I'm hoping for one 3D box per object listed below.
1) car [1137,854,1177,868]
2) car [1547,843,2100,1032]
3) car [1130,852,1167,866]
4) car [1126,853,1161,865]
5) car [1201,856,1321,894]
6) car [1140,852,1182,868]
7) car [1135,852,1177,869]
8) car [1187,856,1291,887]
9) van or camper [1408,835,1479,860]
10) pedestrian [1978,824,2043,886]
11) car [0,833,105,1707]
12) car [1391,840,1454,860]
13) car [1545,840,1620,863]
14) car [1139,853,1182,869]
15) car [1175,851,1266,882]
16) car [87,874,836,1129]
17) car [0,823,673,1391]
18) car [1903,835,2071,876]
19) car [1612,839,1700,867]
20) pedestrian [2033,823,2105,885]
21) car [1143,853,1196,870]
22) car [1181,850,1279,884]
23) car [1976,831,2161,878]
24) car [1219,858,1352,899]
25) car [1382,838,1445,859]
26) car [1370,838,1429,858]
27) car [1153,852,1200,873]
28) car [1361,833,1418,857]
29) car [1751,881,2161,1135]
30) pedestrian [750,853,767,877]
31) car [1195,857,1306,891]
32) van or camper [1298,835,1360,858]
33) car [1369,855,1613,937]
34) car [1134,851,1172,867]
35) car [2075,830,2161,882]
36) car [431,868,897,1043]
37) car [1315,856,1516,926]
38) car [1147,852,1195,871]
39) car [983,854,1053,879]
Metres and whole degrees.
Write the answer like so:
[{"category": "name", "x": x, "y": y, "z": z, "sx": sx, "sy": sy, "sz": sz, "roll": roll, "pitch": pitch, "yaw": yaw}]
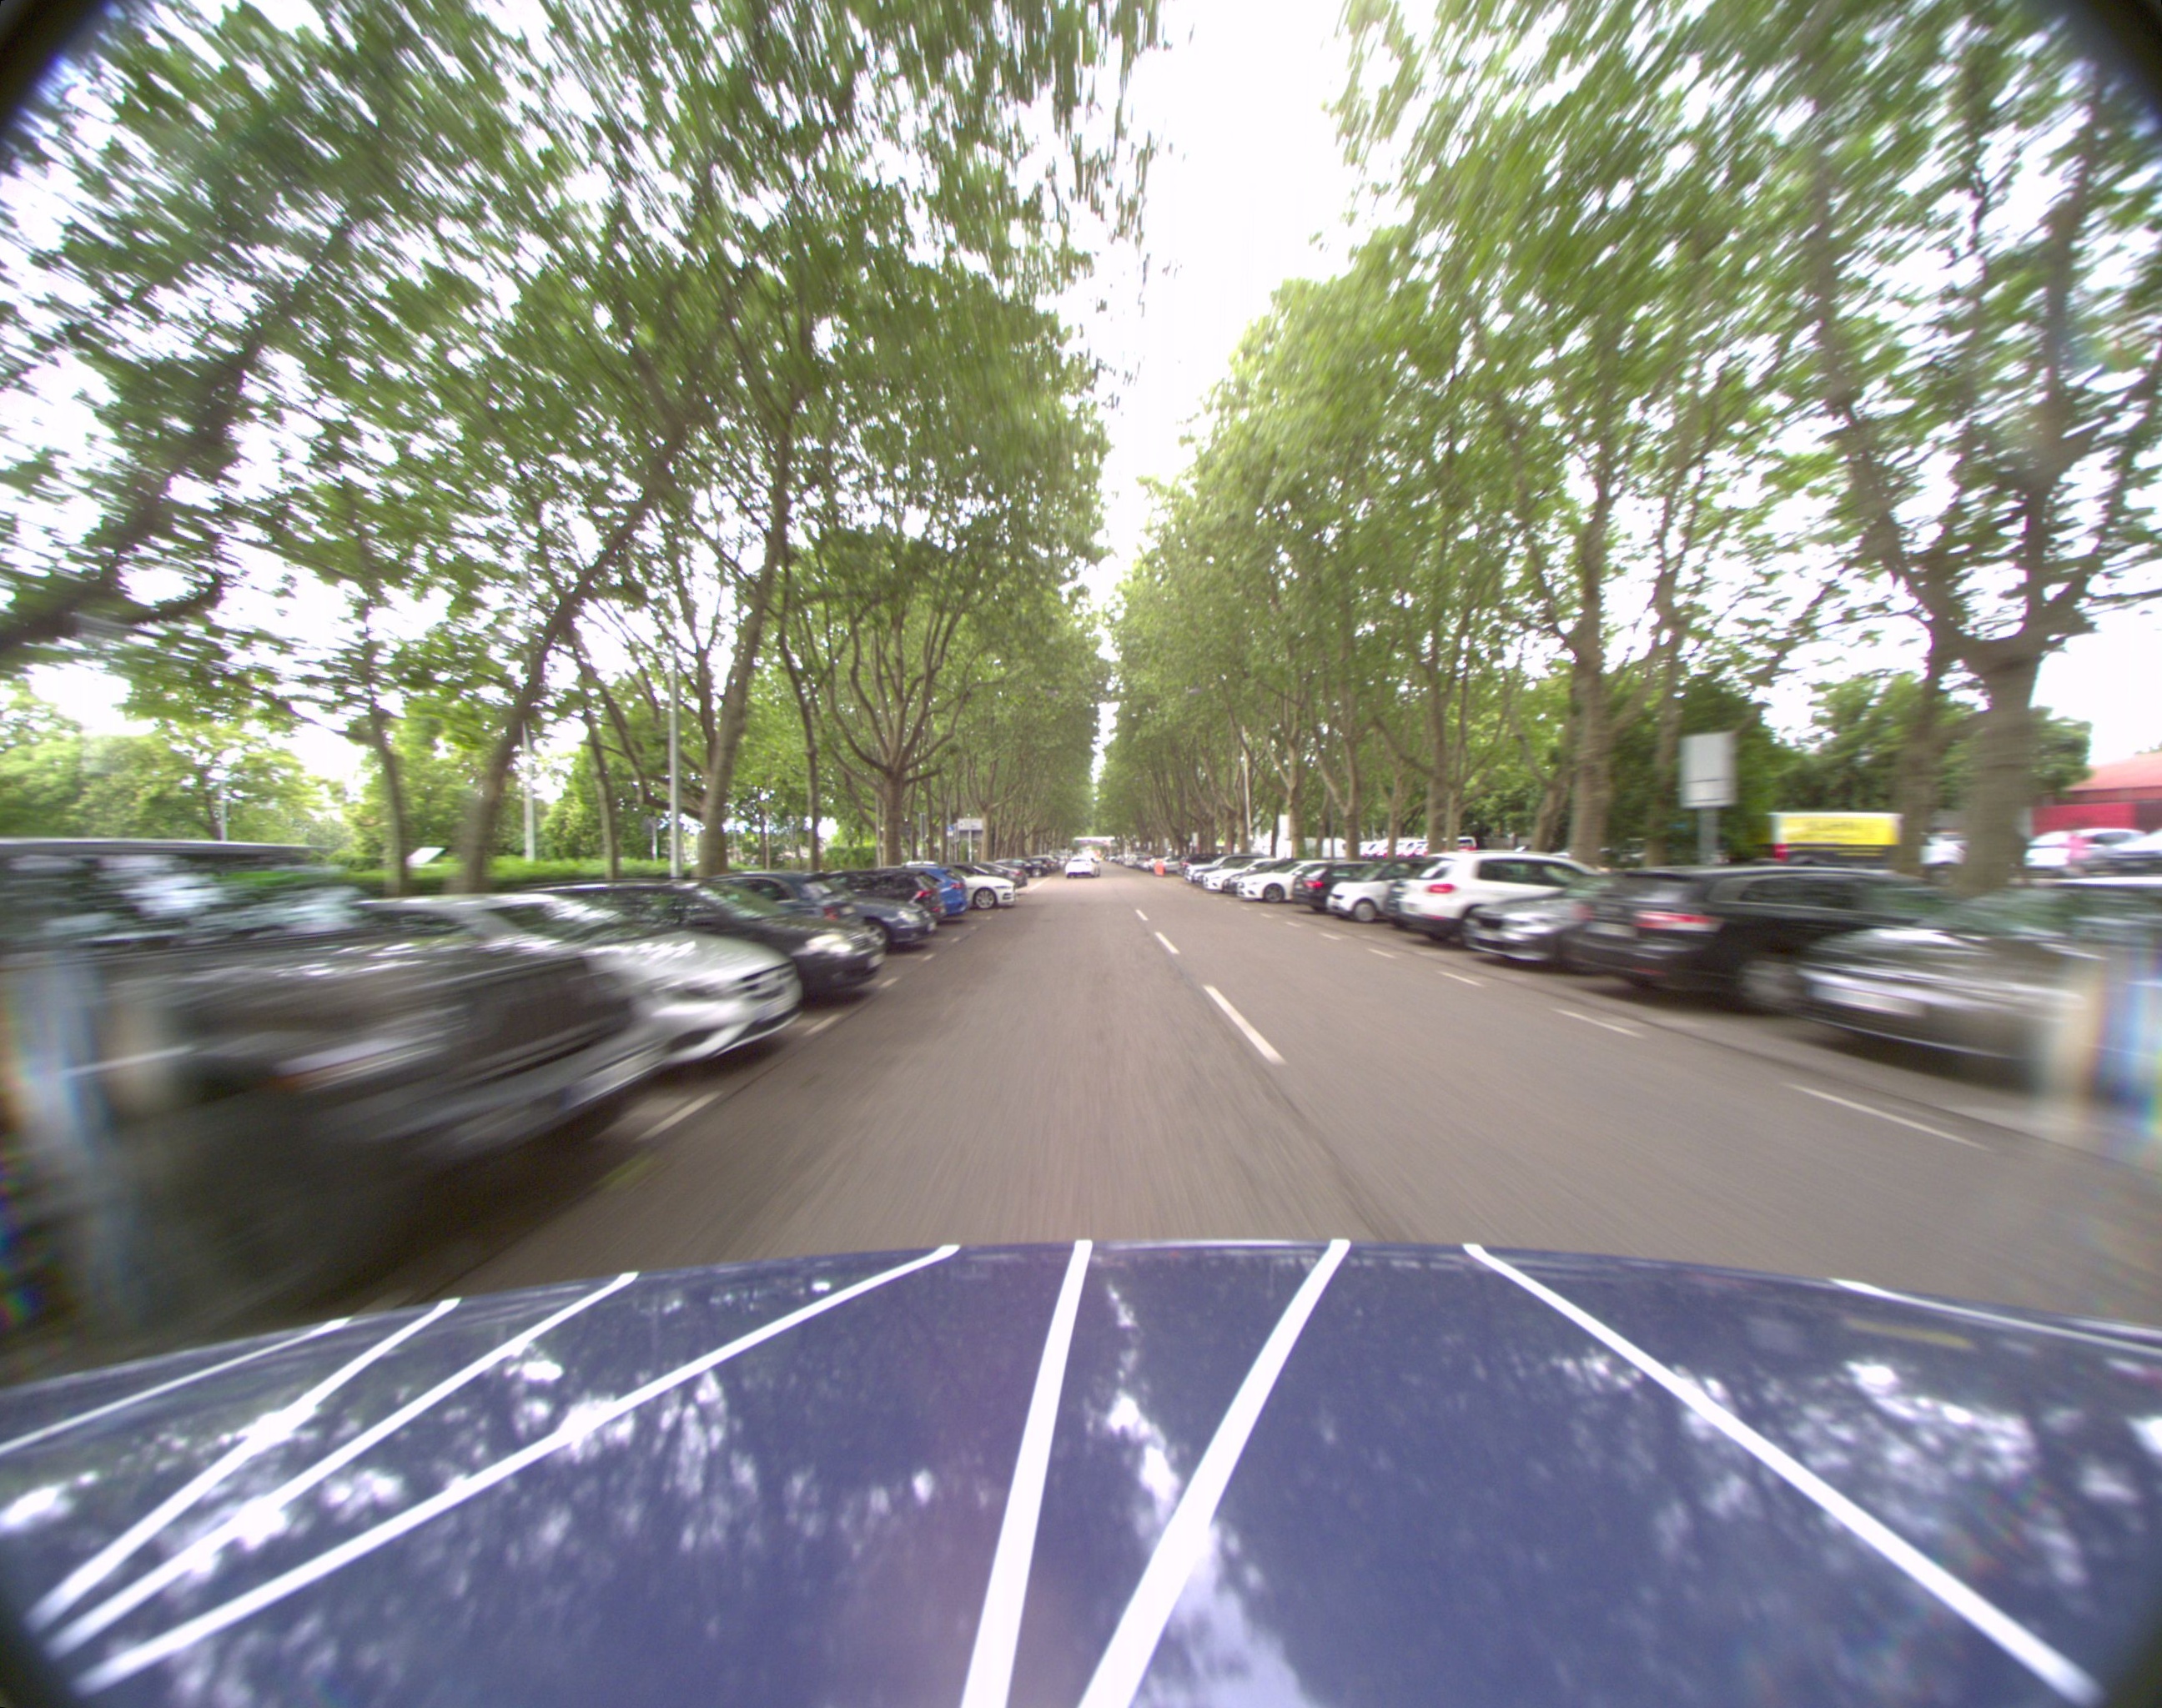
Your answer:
[{"category": "car", "x": 7.796, "y": 0.707, "z": 77.885, "sx": 3.996, "sy": 1.302, "sz": 2.001, "roll": 1, "pitch": 0, "yaw": 3}, {"category": "car", "x": 7.539, "y": 0.784, "z": 8.076, "sx": 3.996, "sy": 1.672, "sz": 1.855, "roll": -2, "pitch": 1, "yaw": 2}, {"category": "car", "x": 7.576, "y": 0.603, "z": 85.405, "sx": 4.039, "sy": 1.518, "sz": 1.800, "roll": 1, "pitch": 0, "yaw": 3}, {"category": "car", "x": 7.435, "y": 0.600, "z": 90.748, "sx": 3.996, "sy": 1.422, "sz": 2.001, "roll": 1, "pitch": 0, "yaw": 3}, {"category": "car", "x": 7.177, "y": 0.829, "z": 30.605, "sx": 4.419, "sy": 1.416, "sz": 1.776, "roll": 1, "pitch": 0, "yaw": -1}, {"category": "car", "x": 7.956, "y": 0.622, "z": 75.673, "sx": 3.996, "sy": 1.505, "sz": 1.874, "roll": 1, "pitch": 1, "yaw": 3}, {"category": "car", "x": 7.195, "y": 0.589, "z": 73.004, "sx": 3.847, "sy": 1.560, "sz": 1.847, "roll": 1, "pitch": 1, "yaw": 3}, {"category": "car", "x": 7.341, "y": 0.814, "z": 35.620, "sx": 4.420, "sy": 1.387, "sz": 2.047, "roll": 1, "pitch": 0, "yaw": -3}, {"category": "van or camper", "x": 35.333, "y": -0.675, "z": 74.139, "sx": 5.719, "sy": 2.242, "sz": 2.329, "roll": -2, "pitch": 1, "yaw": 0}, {"category": "pedestrian", "x": 27.959, "y": 0.030, "z": 22.874, "sx": 0.819, "sy": 1.790, "sz": 0.918, "roll": -2, "pitch": 1, "yaw": 1}, {"category": "car", "x": -4.160, "y": 0.946, "z": 0.436, "sx": 4.506, "sy": 1.786, "sz": 2.047, "roll": -2, "pitch": 0, "yaw": 0}, {"category": "car", "x": 34.461, "y": -0.459, "z": 76.765, "sx": 5.466, "sy": 1.839, "sz": 1.999, "roll": -2, "pitch": 1, "yaw": -2}, {"category": "car", "x": 34.762, "y": -0.177, "z": 52.723, "sx": 3.998, "sy": 1.478, "sz": 1.800, "roll": -2, "pitch": 1, "yaw": -3}, {"category": "car", "x": 7.360, "y": 0.645, "z": 70.502, "sx": 3.847, "sy": 1.466, "sz": 1.847, "roll": 1, "pitch": 0, "yaw": 3}, {"category": "car", "x": 7.456, "y": 0.668, "z": 40.935, "sx": 4.420, "sy": 1.617, "sz": 2.047, "roll": 1, "pitch": 0, "yaw": -3}, {"category": "car", "x": -4.634, "y": 1.065, "z": 6.218, "sx": 4.505, "sy": 1.563, "sz": 2.048, "roll": -2, "pitch": 0, "yaw": 4}, {"category": "car", "x": -4.763, "y": 0.922, "z": 3.562, "sx": 4.507, "sy": 1.855, "sz": 2.047, "roll": -2, "pitch": 0, "yaw": 0}, {"category": "car", "x": 34.103, "y": 0.055, "z": 28.685, "sx": 3.997, "sy": 1.388, "sz": 1.901, "roll": -2, "pitch": 0, "yaw": 1}, {"category": "car", "x": 34.476, "y": -0.077, "z": 45.638, "sx": 3.997, "sy": 1.499, "sz": 1.733, "roll": -2, "pitch": 1, "yaw": -1}, {"category": "pedestrian", "x": 29.477, "y": -0.014, "z": 22.681, "sx": 0.944, "sy": 1.790, "sz": 0.918, "roll": -2, "pitch": 1, "yaw": 1}, {"category": "car", "x": 7.895, "y": 0.676, "z": 68.262, "sx": 4.575, "sy": 1.425, "sz": 2.090, "roll": 1, "pitch": 0, "yaw": 3}, {"category": "car", "x": 7.410, "y": 0.619, "z": 38.090, "sx": 4.420, "sy": 1.617, "sz": 2.046, "roll": 1, "pitch": 0, "yaw": -4}, {"category": "car", "x": 34.106, "y": 0.027, "z": 26.249, "sx": 3.997, "sy": 1.440, "sz": 1.991, "roll": -2, "pitch": 0, "yaw": 1}, {"category": "car", "x": 7.456, "y": 0.868, "z": 28.015, "sx": 4.418, "sy": 1.409, "sz": 1.784, "roll": 1, "pitch": 0, "yaw": 2}, {"category": "car", "x": 34.613, "y": -0.573, "z": 79.275, "sx": 5.466, "sy": 1.986, "sz": 2.475, "roll": -2, "pitch": 1, "yaw": -2}, {"category": "car", "x": 35.131, "y": -0.652, "z": 83.976, "sx": 5.466, "sy": 2.009, "sz": 2.393, "roll": -2, "pitch": 1, "yaw": -2}, {"category": "car", "x": 7.562, "y": 0.635, "z": 60.532, "sx": 3.565, "sy": 1.569, "sz": 1.847, "roll": 1, "pitch": 1, "yaw": 3}, {"category": "car", "x": 35.114, "y": -1.041, "z": 86.662, "sx": 5.466, "sy": 2.502, "sz": 2.393, "roll": -2, "pitch": 1, "yaw": -2}, {"category": "car", "x": 7.744, "y": 0.974, "z": 5.608, "sx": 3.997, "sy": 1.361, "sz": 1.843, "roll": -2, "pitch": 1, "yaw": -1}, {"category": "pedestrian", "x": -20.987, "y": 0.708, "z": 49.499, "sx": 0.724, "sy": 1.558, "sz": 0.698, "roll": -2, "pitch": 1, "yaw": 7}, {"category": "car", "x": 7.352, "y": 0.848, "z": 33.191, "sx": 4.419, "sy": 1.387, "sz": 1.724, "roll": 1, "pitch": 0, "yaw": -2}, {"category": "van or camper", "x": 24.218, "y": -0.766, "z": 74.359, "sx": 5.299, "sy": 2.088, "sz": 2.244, "roll": -2, "pitch": 1, "yaw": -2}, {"category": "car", "x": 8.296, "y": 0.822, "z": 15.667, "sx": 3.996, "sy": 1.445, "sz": 1.855, "roll": -2, "pitch": 1, "yaw": 2}, {"category": "car", "x": 7.899, "y": 0.561, "z": 83.173, "sx": 4.028, "sy": 1.619, "sz": 2.001, "roll": 1, "pitch": 0, "yaw": 3}, {"category": "car", "x": 33.959, "y": 0.005, "z": 23.440, "sx": 3.997, "sy": 1.501, "sz": 1.938, "roll": -2, "pitch": 0, "yaw": 1}, {"category": "car", "x": -4.459, "y": 1.055, "z": 8.618, "sx": 4.206, "sy": 1.510, "sz": 1.785, "roll": -3, "pitch": 1, "yaw": 0}, {"category": "car", "x": 7.895, "y": 0.841, "z": 18.221, "sx": 3.996, "sy": 1.445, "sz": 1.855, "roll": -2, "pitch": 1, "yaw": 2}, {"category": "car", "x": 7.423, "y": 0.631, "z": 62.995, "sx": 3.847, "sy": 1.529, "sz": 1.676, "roll": 1, "pitch": 1, "yaw": 3}, {"category": "car", "x": -4.535, "y": 0.874, "z": 55.255, "sx": 4.832, "sy": 1.497, "sz": 2.000, "roll": -3, "pitch": 0, "yaw": -1}]
